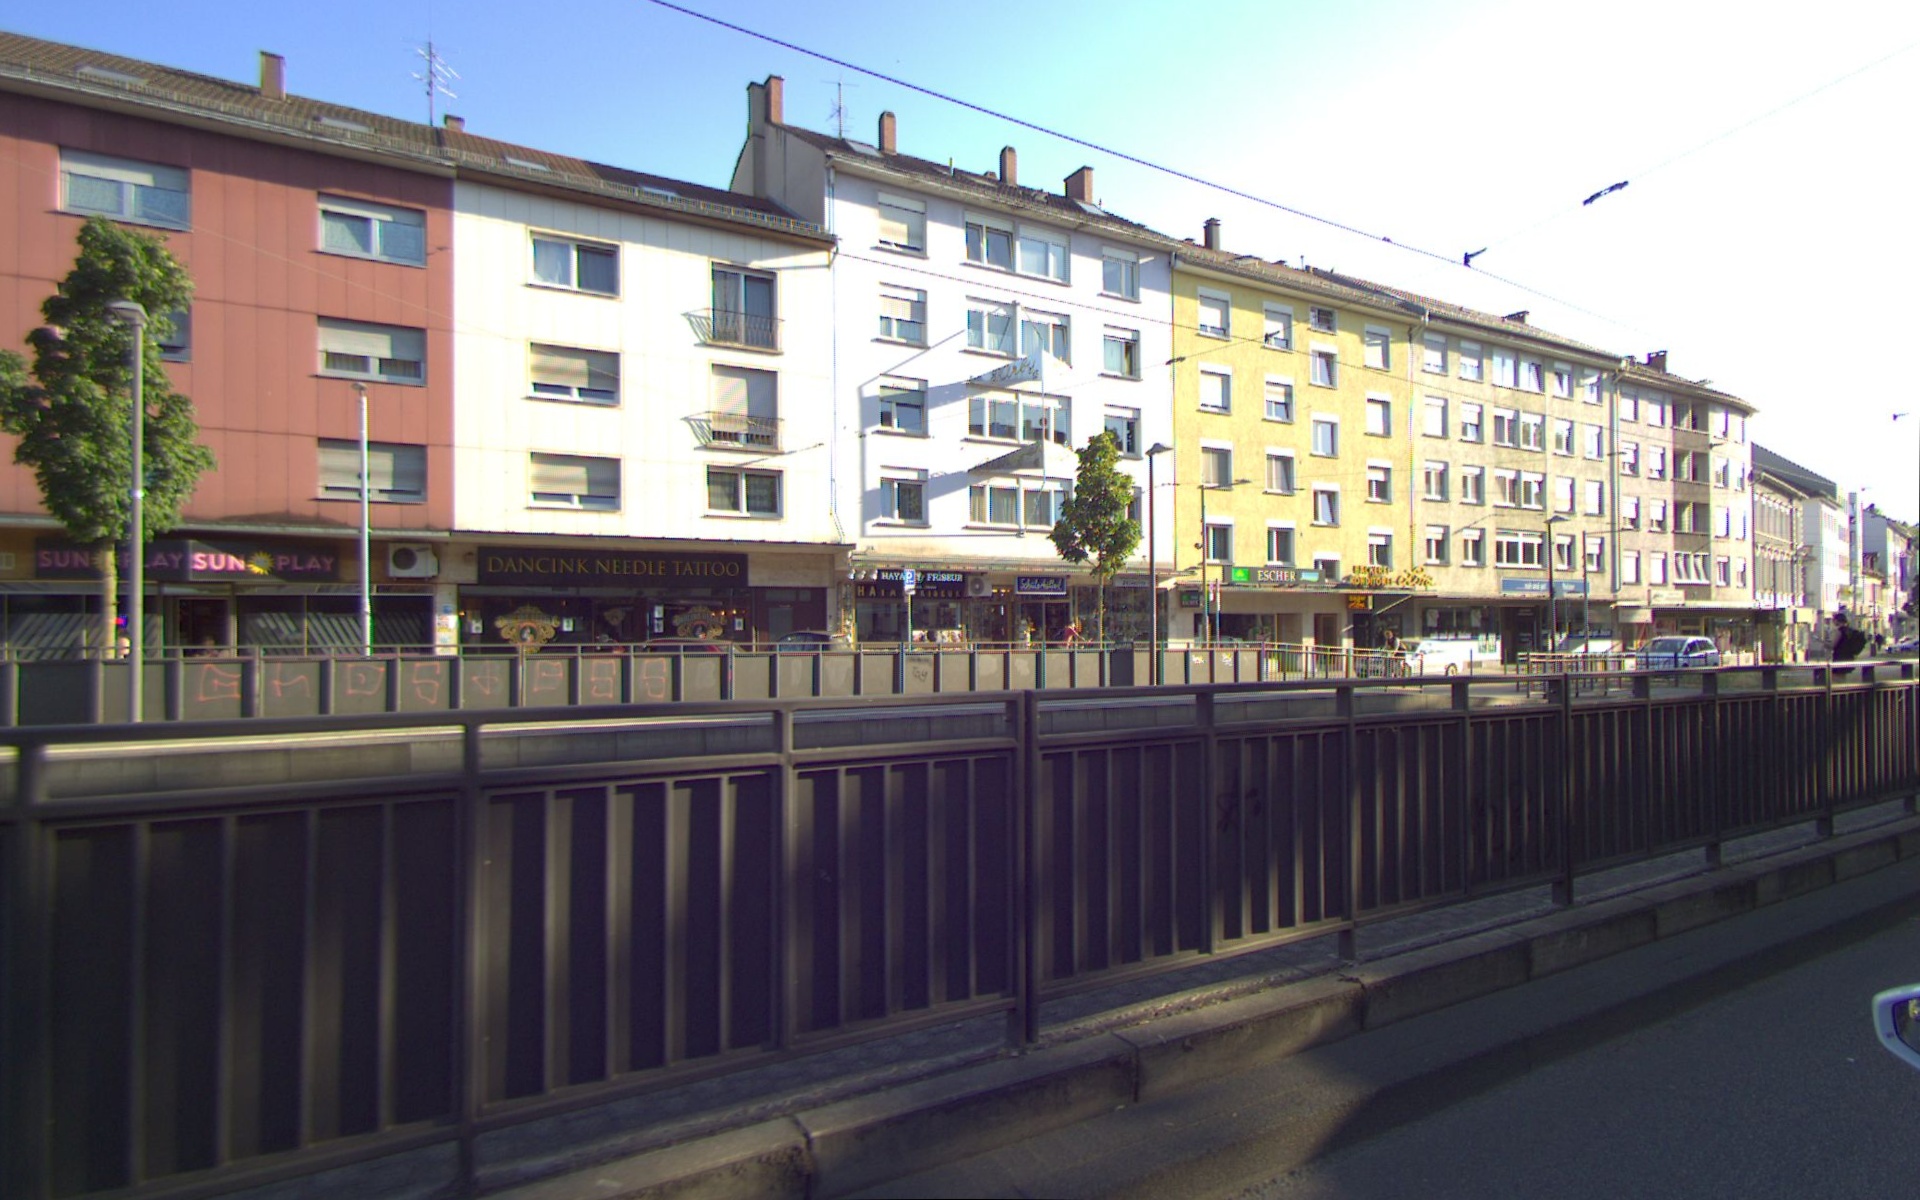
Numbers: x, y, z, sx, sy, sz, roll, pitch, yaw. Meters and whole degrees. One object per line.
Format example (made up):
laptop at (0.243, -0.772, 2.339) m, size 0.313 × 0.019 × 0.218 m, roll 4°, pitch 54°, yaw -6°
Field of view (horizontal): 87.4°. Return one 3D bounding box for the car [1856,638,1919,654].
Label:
car at (86.150, 4.260, 92.885) m, size 4.460 × 1.431 × 2.001 m, roll 0°, pitch -2°, yaw 16°

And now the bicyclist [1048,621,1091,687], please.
bicyclist at (3.218, 1.581, 29.557) m, size 1.043 × 1.911 × 0.690 m, roll 0°, pitch -2°, yaw -24°

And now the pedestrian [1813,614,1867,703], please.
pedestrian at (18.832, 1.236, 21.495) m, size 0.584 × 1.873 × 0.736 m, roll 1°, pitch -2°, yaw -36°

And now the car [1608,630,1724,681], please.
car at (25.894, 1.989, 36.795) m, size 4.387 × 1.739 × 1.982 m, roll 1°, pitch -2°, yaw -33°

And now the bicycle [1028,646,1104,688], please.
bicycle at (3.114, 1.964, 29.487) m, size 2.168 × 1.174 × 0.703 m, roll 1°, pitch 0°, yaw -25°

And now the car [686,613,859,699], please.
car at (-4.509, 1.309, 24.493) m, size 3.693 × 1.823 × 1.865 m, roll 2°, pitch 1°, yaw 8°

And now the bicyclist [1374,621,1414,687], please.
bicyclist at (13.652, 1.685, 31.610) m, size 0.901 × 2.040 × 0.760 m, roll 1°, pitch -2°, yaw -32°

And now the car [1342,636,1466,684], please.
car at (15.675, 2.072, 35.386) m, size 4.365 × 1.498 × 1.981 m, roll 2°, pitch 0°, yaw -34°

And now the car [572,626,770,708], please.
car at (-6.282, 1.429, 22.074) m, size 3.693 × 1.511 × 1.865 m, roll 2°, pitch 1°, yaw 8°

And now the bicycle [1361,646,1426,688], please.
bicycle at (13.643, 2.081, 31.601) m, size 2.253 × 1.246 × 0.714 m, roll 1°, pitch -2°, yaw -32°
